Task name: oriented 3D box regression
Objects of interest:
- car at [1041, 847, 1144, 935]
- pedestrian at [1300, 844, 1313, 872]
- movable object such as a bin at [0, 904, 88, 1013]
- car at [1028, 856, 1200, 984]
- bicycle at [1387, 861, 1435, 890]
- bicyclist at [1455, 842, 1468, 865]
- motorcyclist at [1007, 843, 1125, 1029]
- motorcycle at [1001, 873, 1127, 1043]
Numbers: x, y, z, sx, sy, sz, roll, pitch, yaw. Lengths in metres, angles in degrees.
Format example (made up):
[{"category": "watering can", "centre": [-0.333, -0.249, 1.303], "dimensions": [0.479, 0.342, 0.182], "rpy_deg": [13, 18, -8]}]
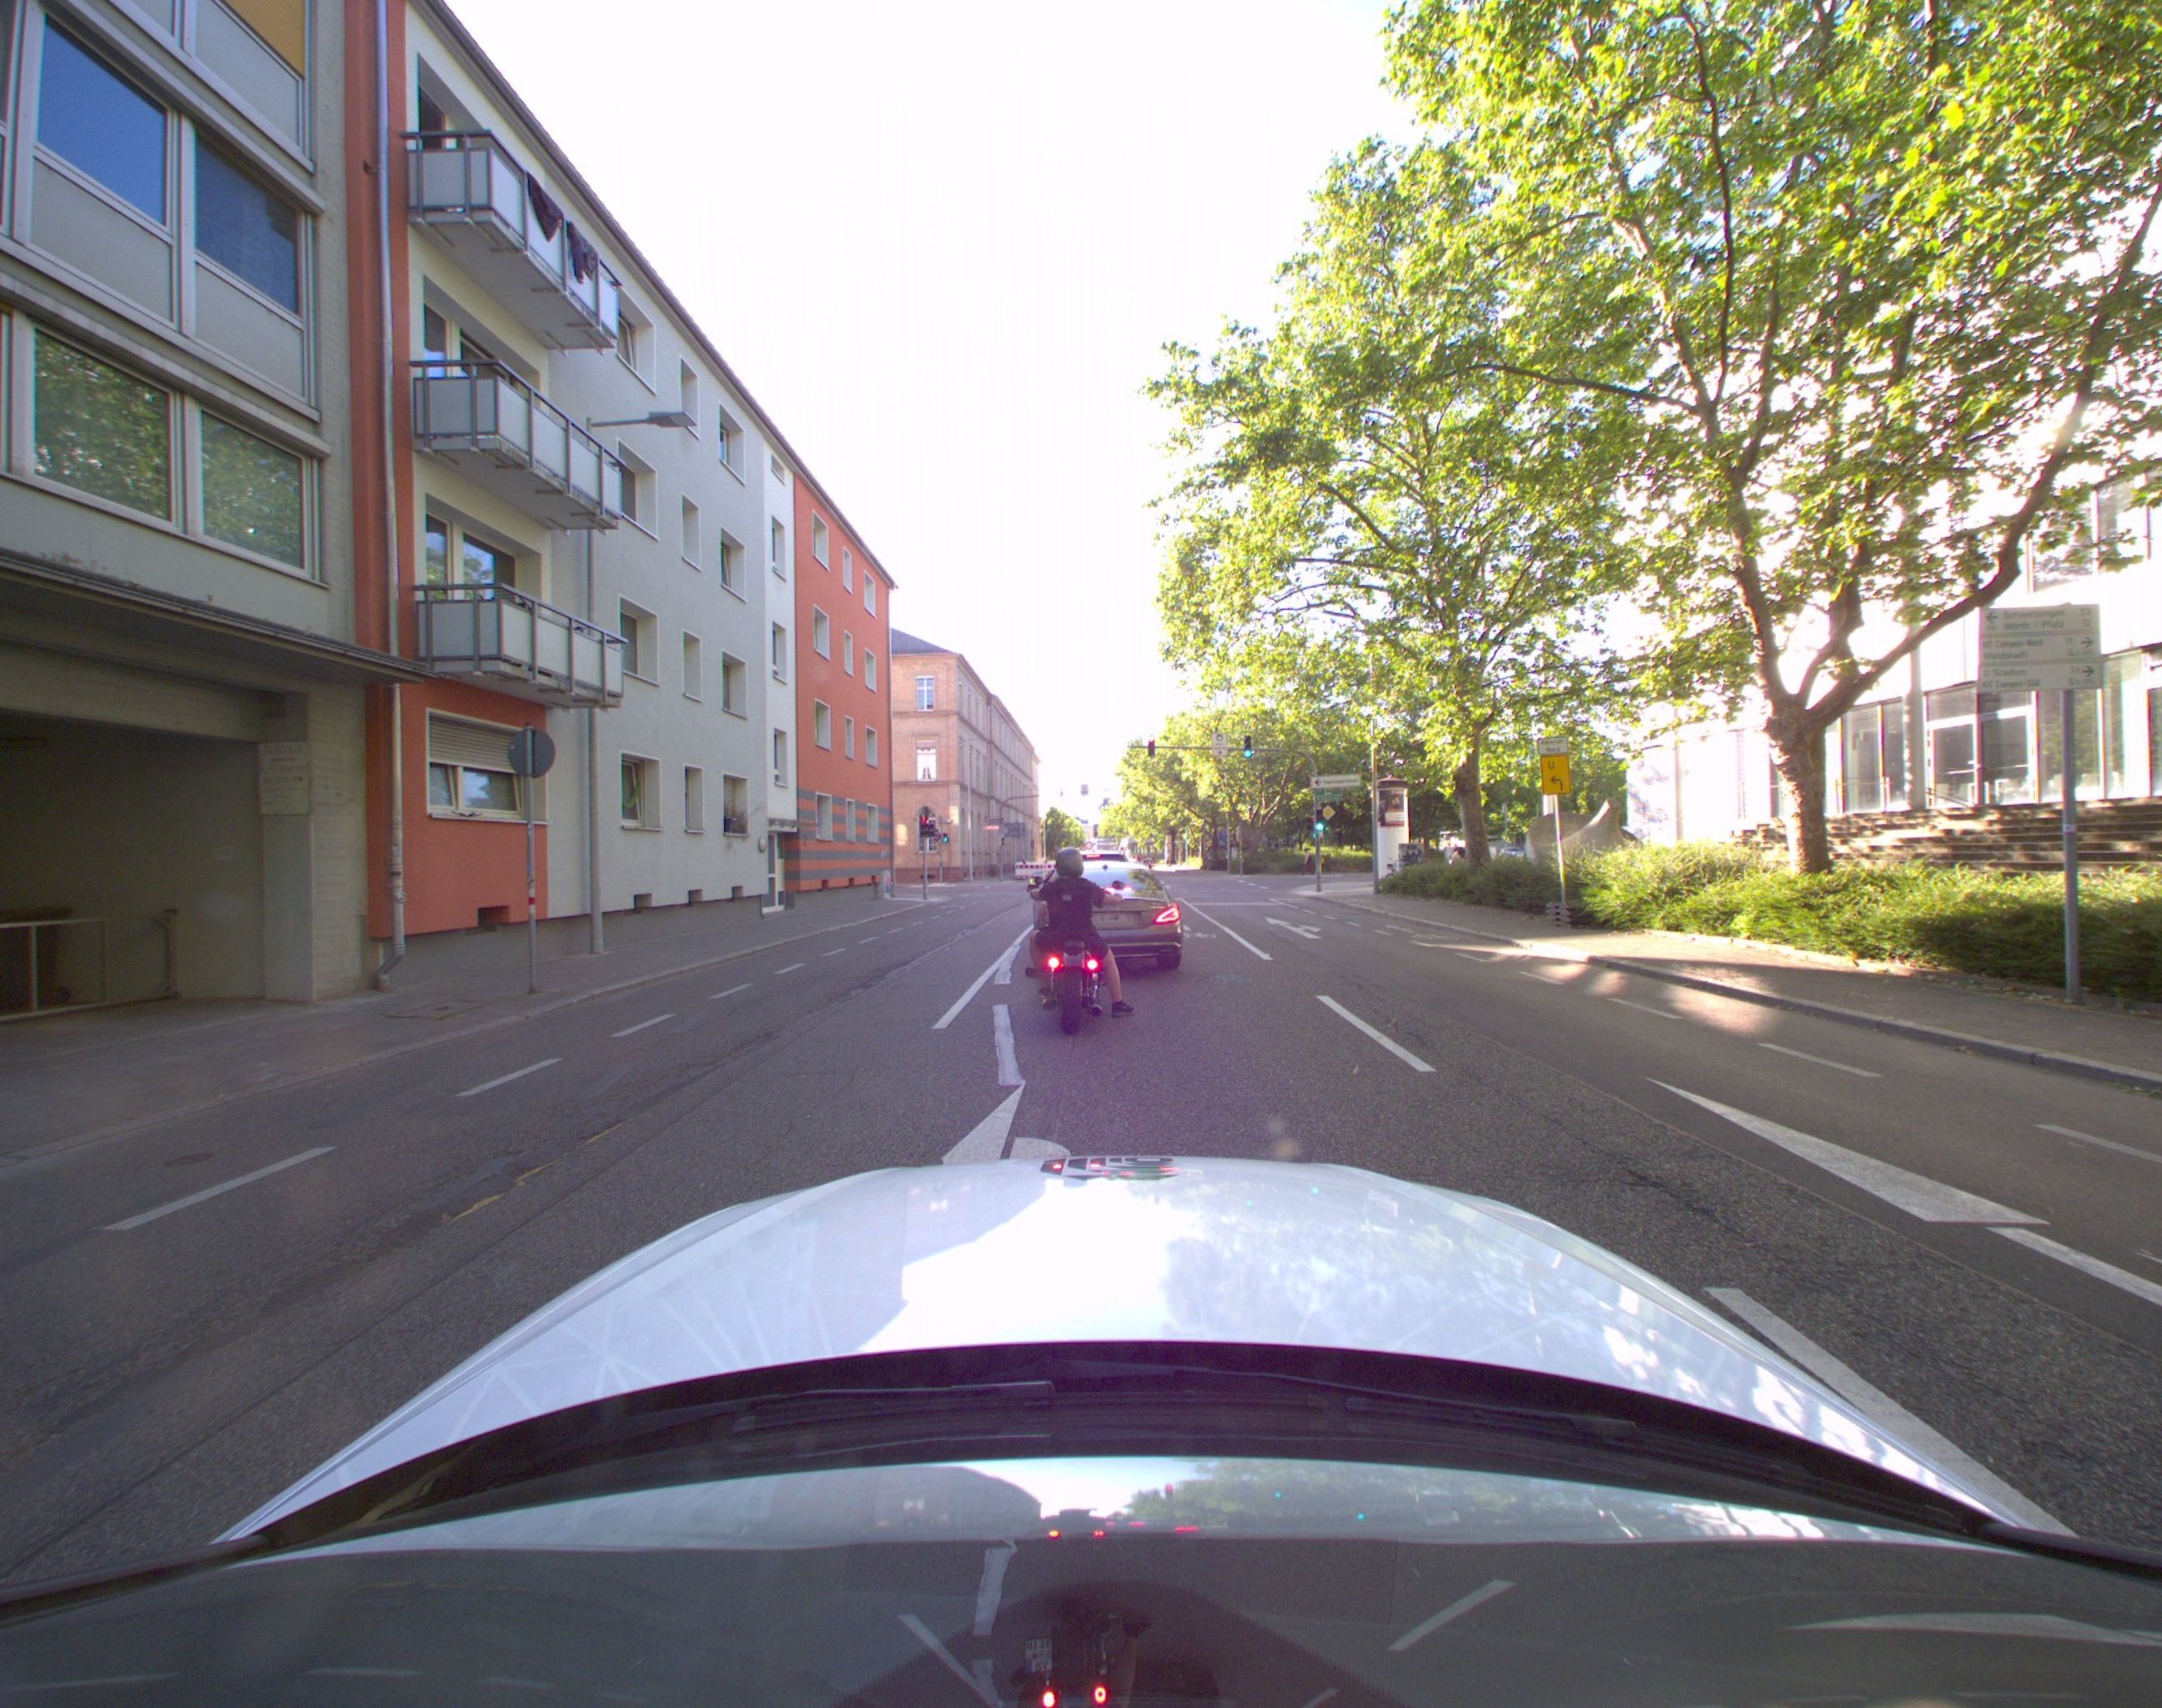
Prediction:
[{"category": "car", "centre": [0.283, 0.728, 17.678], "dimensions": [1.986, 1.665, 4.001], "rpy_deg": [0, -1, 2]}, {"category": "pedestrian", "centre": [14.170, 0.261, 51.168], "dimensions": [0.670, 1.772, 0.621], "rpy_deg": [-1, -1, 32]}, {"category": "movable object such as a bin", "centre": [-11.295, 1.095, 8.653], "dimensions": [0.639, 1.065, 0.675], "rpy_deg": [-1, 0, 1]}, {"category": "car", "centre": [0.258, 0.776, 11.751], "dimensions": [1.867, 1.444, 4.421], "rpy_deg": [-1, 0, -6]}, {"category": "bicycle", "centre": [11.073, 0.714, 27.329], "dimensions": [1.475, 0.980, 0.300], "rpy_deg": [0, -1, 7]}, {"category": "bicyclist", "centre": [22.592, -0.024, 48.395], "dimensions": [0.520, 1.347, 0.544], "rpy_deg": [0, -1, 5]}, {"category": "motorcyclist", "centre": [-0.110, 0.701, 7.624], "dimensions": [0.977, 1.578, 1.249], "rpy_deg": [-1, 0, 1]}, {"category": "motorcycle", "centre": [-0.098, 0.860, 7.696], "dimensions": [0.977, 1.275, 2.408], "rpy_deg": [-1, 0, 2]}]
